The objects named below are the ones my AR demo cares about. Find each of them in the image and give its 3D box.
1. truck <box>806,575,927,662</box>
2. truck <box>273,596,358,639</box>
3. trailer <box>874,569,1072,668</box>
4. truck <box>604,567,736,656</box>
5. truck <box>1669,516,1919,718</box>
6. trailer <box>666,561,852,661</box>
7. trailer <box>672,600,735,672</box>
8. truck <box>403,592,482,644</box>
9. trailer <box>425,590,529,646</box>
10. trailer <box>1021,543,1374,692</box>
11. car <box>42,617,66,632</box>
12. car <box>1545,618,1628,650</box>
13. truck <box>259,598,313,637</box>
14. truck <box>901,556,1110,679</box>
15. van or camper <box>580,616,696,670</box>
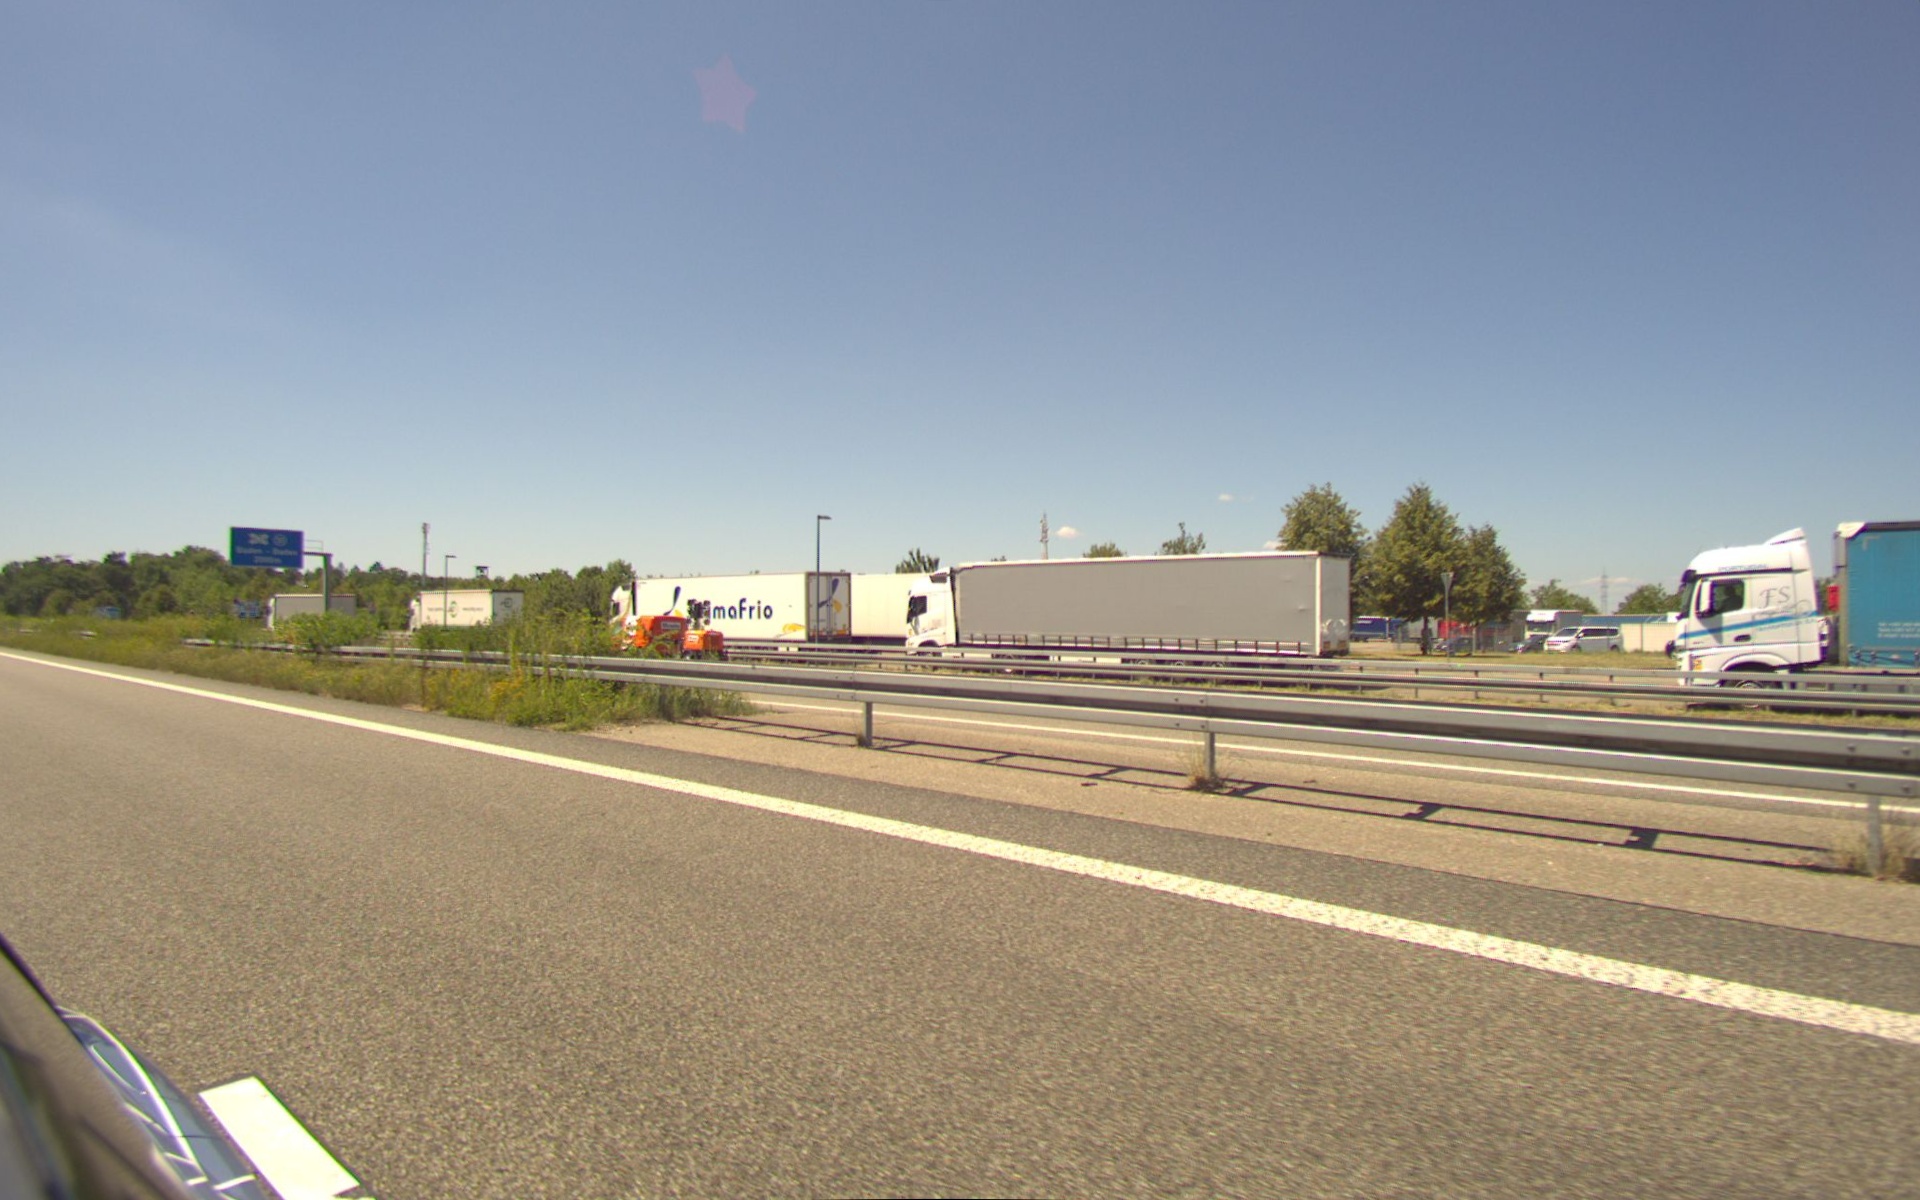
[{"bbox_3d":[-4.670,0.868,49.838,5.741,4.036,2.668,-1,0,41],"label":"truck"},{"bbox_3d":[-59.140,1.554,92.609,13.599,3.670,2.770,-1,0,41],"label":"truck"},{"bbox_3d":[0.387,0.791,45.434,9.302,4.036,2.668,-1,0,41],"label":"trailer"},{"bbox_3d":[-14.968,0.584,51.884,7.932,4.220,2.555,-1,0,41],"label":"truck"},{"bbox_3d":[19.914,0.324,22.025,7.084,4.104,2.821,-1,0,40],"label":"truck"},{"bbox_3d":[-9.597,0.507,47.202,10.508,4.250,2.572,-1,0,41],"label":"trailer"},{"bbox_3d":[-8.756,1.215,34.555,1.997,2.387,1.155,-1,-2,41],"label":"trailer"},{"bbox_3d":[-44.026,1.518,86.036,8.311,4.183,3.063,-1,0,41],"label":"truck"},{"bbox_3d":[-39.222,1.443,81.871,12.003,4.187,3.062,-1,0,41],"label":"trailer"},{"bbox_3d":[7.374,0.539,33.138,11.006,4.189,3.082,-1,0,40],"label":"trailer"},{"bbox_3d":[-112.333,3.014,125.440,4.406,1.760,1.633,-1,0,41],"label":"car"},{"bbox_3d":[40.599,2.201,65.597,4.815,1.883,1.789,-1,0,-16],"label":"car"},{"bbox_3d":[-65.215,1.660,97.915,6.143,3.670,2.770,-1,0,41],"label":"truck"},{"bbox_3d":[1.579,0.608,38.000,7.498,4.189,3.085,-1,0,40],"label":"truck"},{"bbox_3d":[-11.938,1.527,37.374,4.744,1.853,1.876,-1,-1,41],"label":"van or camper"}]
